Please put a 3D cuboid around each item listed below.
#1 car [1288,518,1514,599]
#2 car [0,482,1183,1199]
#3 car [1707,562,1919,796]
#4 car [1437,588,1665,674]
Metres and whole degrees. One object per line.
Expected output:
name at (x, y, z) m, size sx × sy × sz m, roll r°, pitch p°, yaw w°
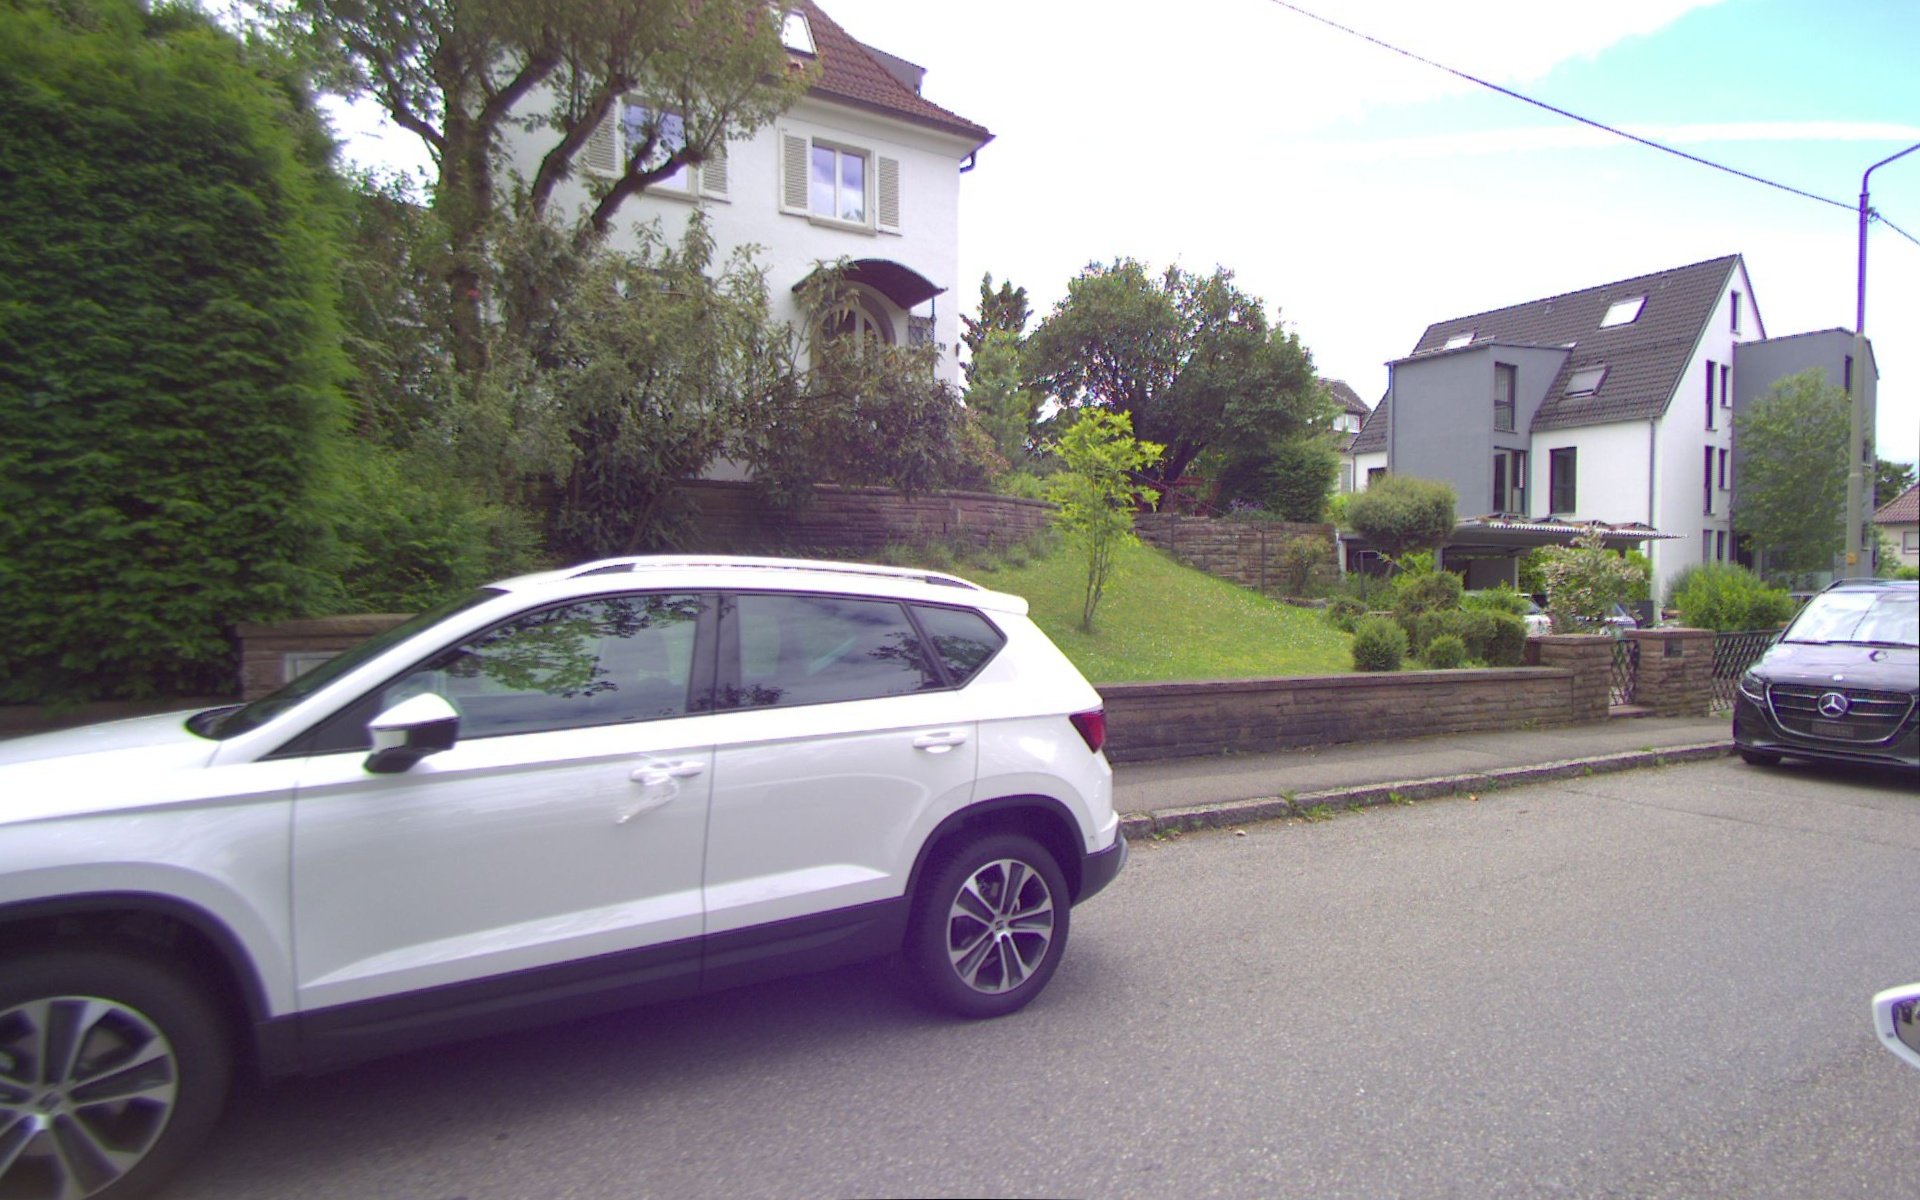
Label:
car at (10.252, -0.951, 23.703) m, size 1.978 × 1.720 × 4.588 m, roll -2°, pitch 2°, yaw -33°
car at (-1.327, 0.624, 3.693) m, size 4.140 × 1.670 × 1.828 m, roll 1°, pitch -1°, yaw -33°
car at (9.876, 0.687, 10.221) m, size 4.980 × 1.952 × 1.853 m, roll 1°, pitch 2°, yaw -31°
car at (13.519, 0.610, 23.214) m, size 1.978 × 1.720 × 4.098 m, roll -2°, pitch 2°, yaw -33°
